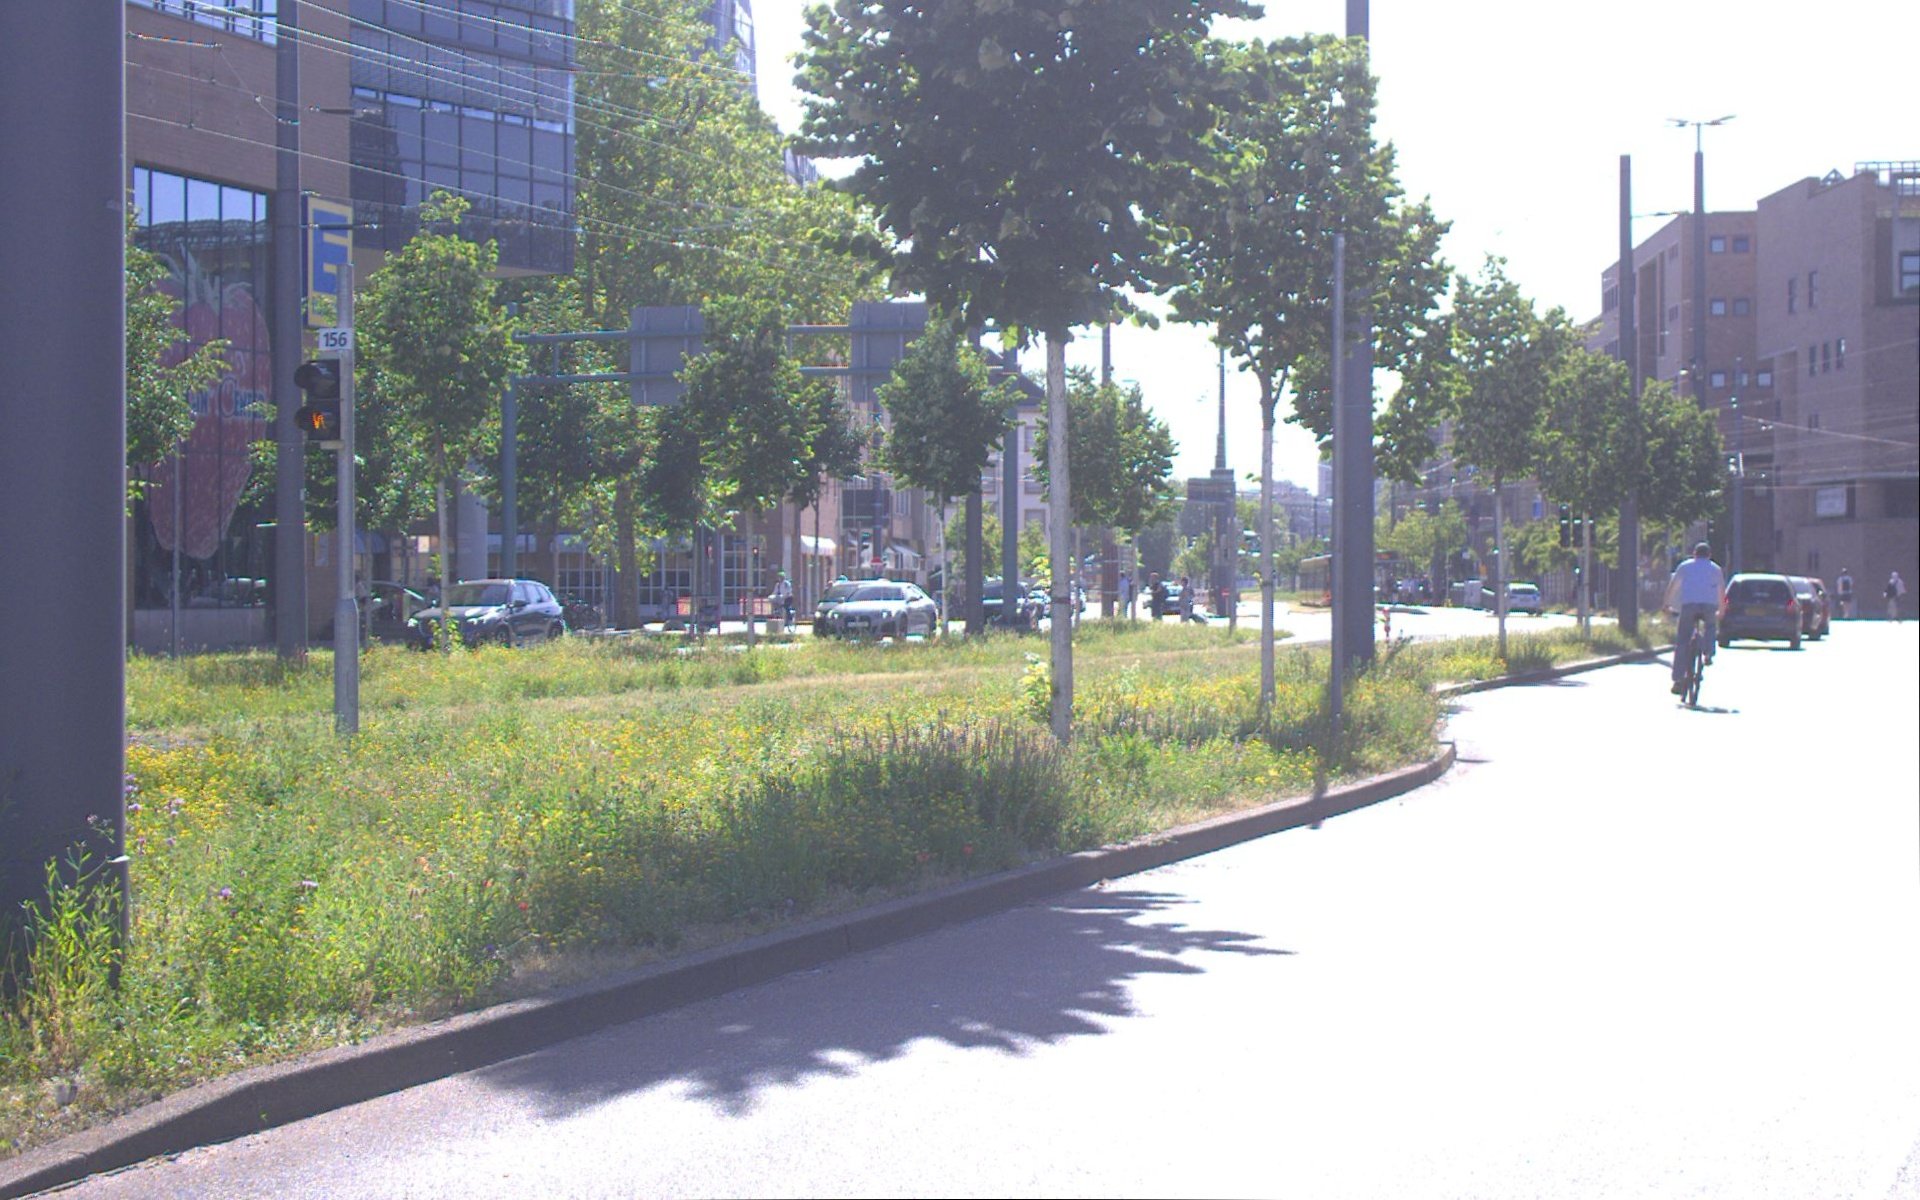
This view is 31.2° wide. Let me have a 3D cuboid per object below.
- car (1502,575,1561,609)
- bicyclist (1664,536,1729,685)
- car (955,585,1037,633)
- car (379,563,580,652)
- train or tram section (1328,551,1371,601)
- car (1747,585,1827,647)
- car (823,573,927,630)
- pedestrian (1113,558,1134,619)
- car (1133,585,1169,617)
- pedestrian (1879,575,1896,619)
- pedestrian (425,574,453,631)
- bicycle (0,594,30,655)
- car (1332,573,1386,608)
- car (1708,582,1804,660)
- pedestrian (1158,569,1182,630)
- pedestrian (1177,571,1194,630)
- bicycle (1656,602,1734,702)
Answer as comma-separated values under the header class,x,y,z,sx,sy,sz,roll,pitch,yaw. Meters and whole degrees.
class,x,y,z,sx,sy,sz,roll,pitch,yaw
car,28.892,-0.418,173.930,2.262,1.721,3.944,0,0,-1
bicyclist,8.391,0.113,39.132,0.618,1.664,1.019,2,1,15
car,1.036,0.244,97.560,1.429,1.355,3.293,0,0,17
car,-9.360,0.135,67.392,1.995,1.675,4.533,0,0,20
train or tram section,23.824,-1.478,210.702,2.327,2.993,13.157,0,0,5
car,19.679,0.360,81.719,1.727,1.444,4.518,0,0,15
car,-2.022,0.018,83.124,1.994,1.329,4.789,0,0,5
pedestrian,4.900,-0.336,103.136,0.460,1.825,0.459,0,0,-23
car,9.277,0.033,167.291,1.609,1.393,3.919,-4,1,3
pedestrian,33.078,-0.114,122.599,0.478,1.573,0.414,0,0,-2
pedestrian,-14.898,0.074,98.300,0.506,1.618,0.787,0,-1,15
bicycle,-18.735,0.441,65.069,2.176,1.119,0.752,1,1,24
car,20.239,-0.486,174.530,2.262,1.721,3.944,0,0,-1
car,16.526,0.412,71.293,1.728,1.558,3.674,0,0,16
pedestrian,6.363,-0.015,104.150,0.580,1.825,0.498,0,0,-23
pedestrian,6.967,0.017,106.404,0.385,1.825,0.464,0,0,-16
bicycle,8.394,0.572,39.208,0.687,1.066,2.695,2,1,15
